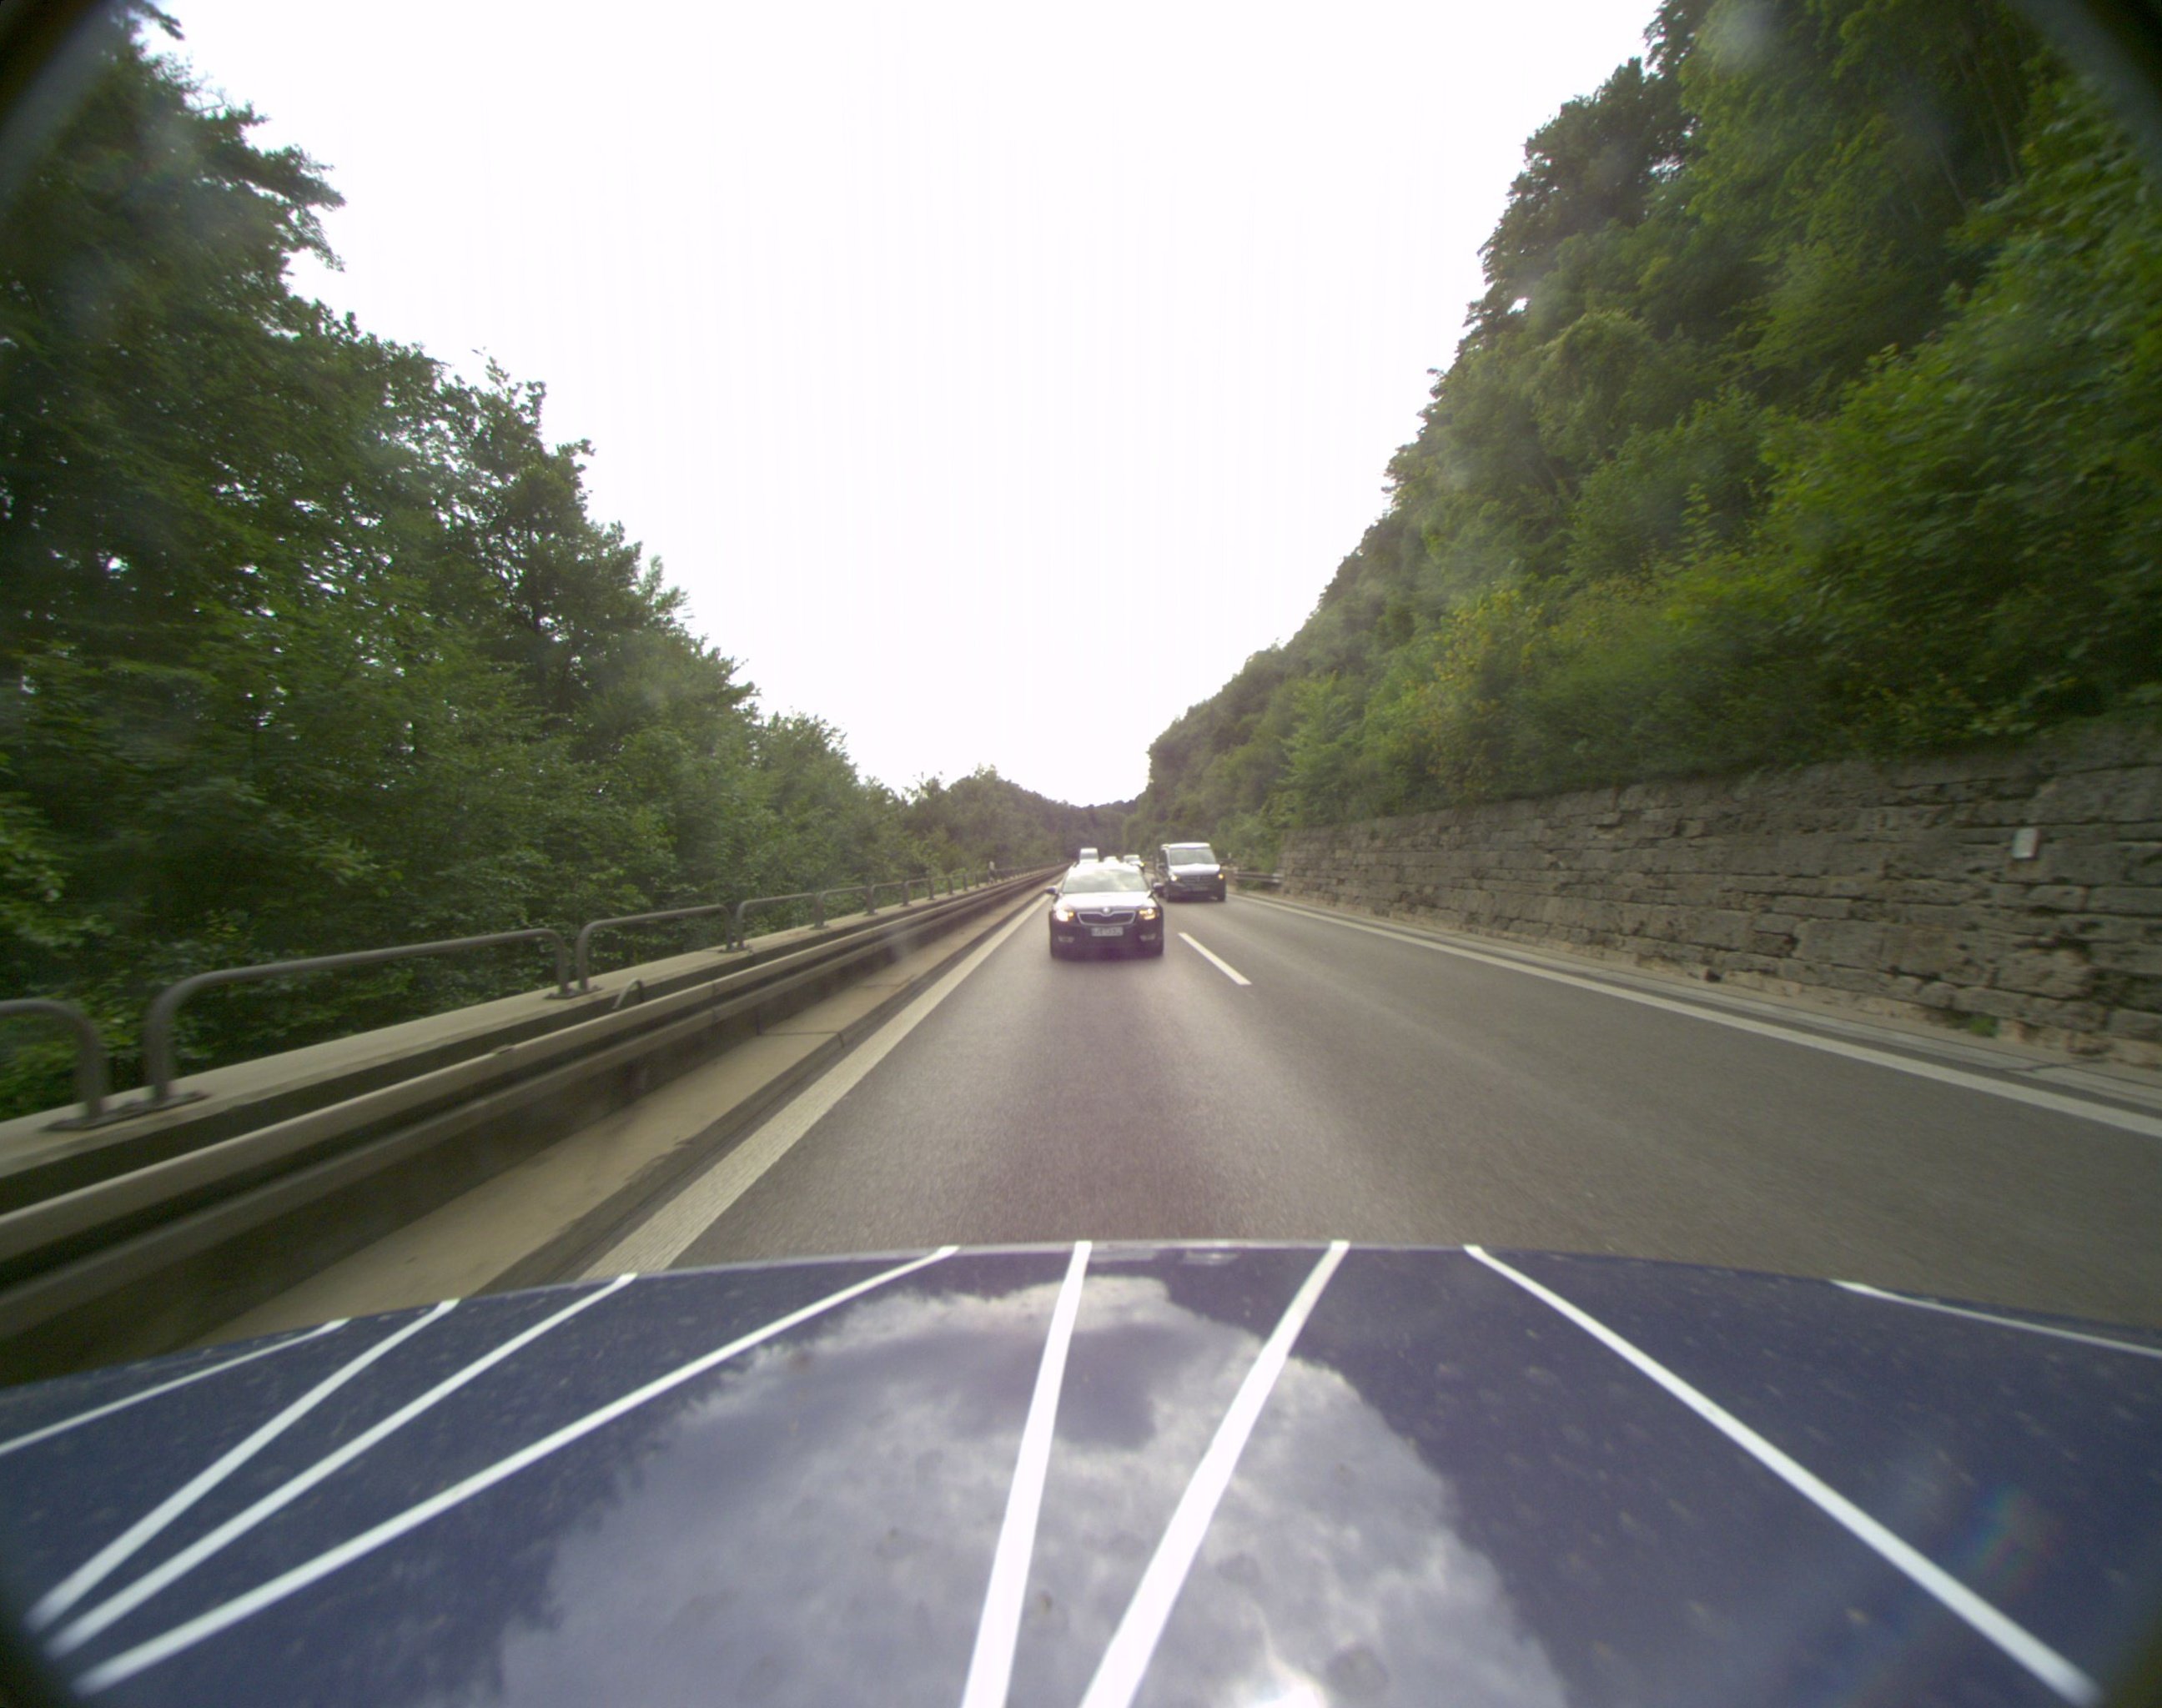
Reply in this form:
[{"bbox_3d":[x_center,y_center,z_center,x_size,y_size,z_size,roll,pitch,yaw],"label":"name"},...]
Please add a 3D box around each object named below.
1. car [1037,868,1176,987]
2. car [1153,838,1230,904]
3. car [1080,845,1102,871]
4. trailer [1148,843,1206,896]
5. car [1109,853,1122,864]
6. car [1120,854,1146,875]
[{"bbox_3d":[0.349,0.950,11.472,1.638,1.384,4.499,-2,-1,1],"label":"car"},{"bbox_3d":[3.734,0.543,26.680,1.998,2.002,5.541,-3,0,2],"label":"car"},{"bbox_3d":[1.087,0.444,78.751,2.099,2.547,5.921,1,-1,2],"label":"car"},{"bbox_3d":[3.889,0.607,31.172,1.976,1.928,3.431,-3,0,2],"label":"trailer"},{"bbox_3d":[5.082,0.744,112.754,1.823,1.546,4.002,1,-1,2],"label":"car"},{"bbox_3d":[4.416,0.848,65.087,1.976,1.584,5.586,-2,0,2],"label":"car"}]
